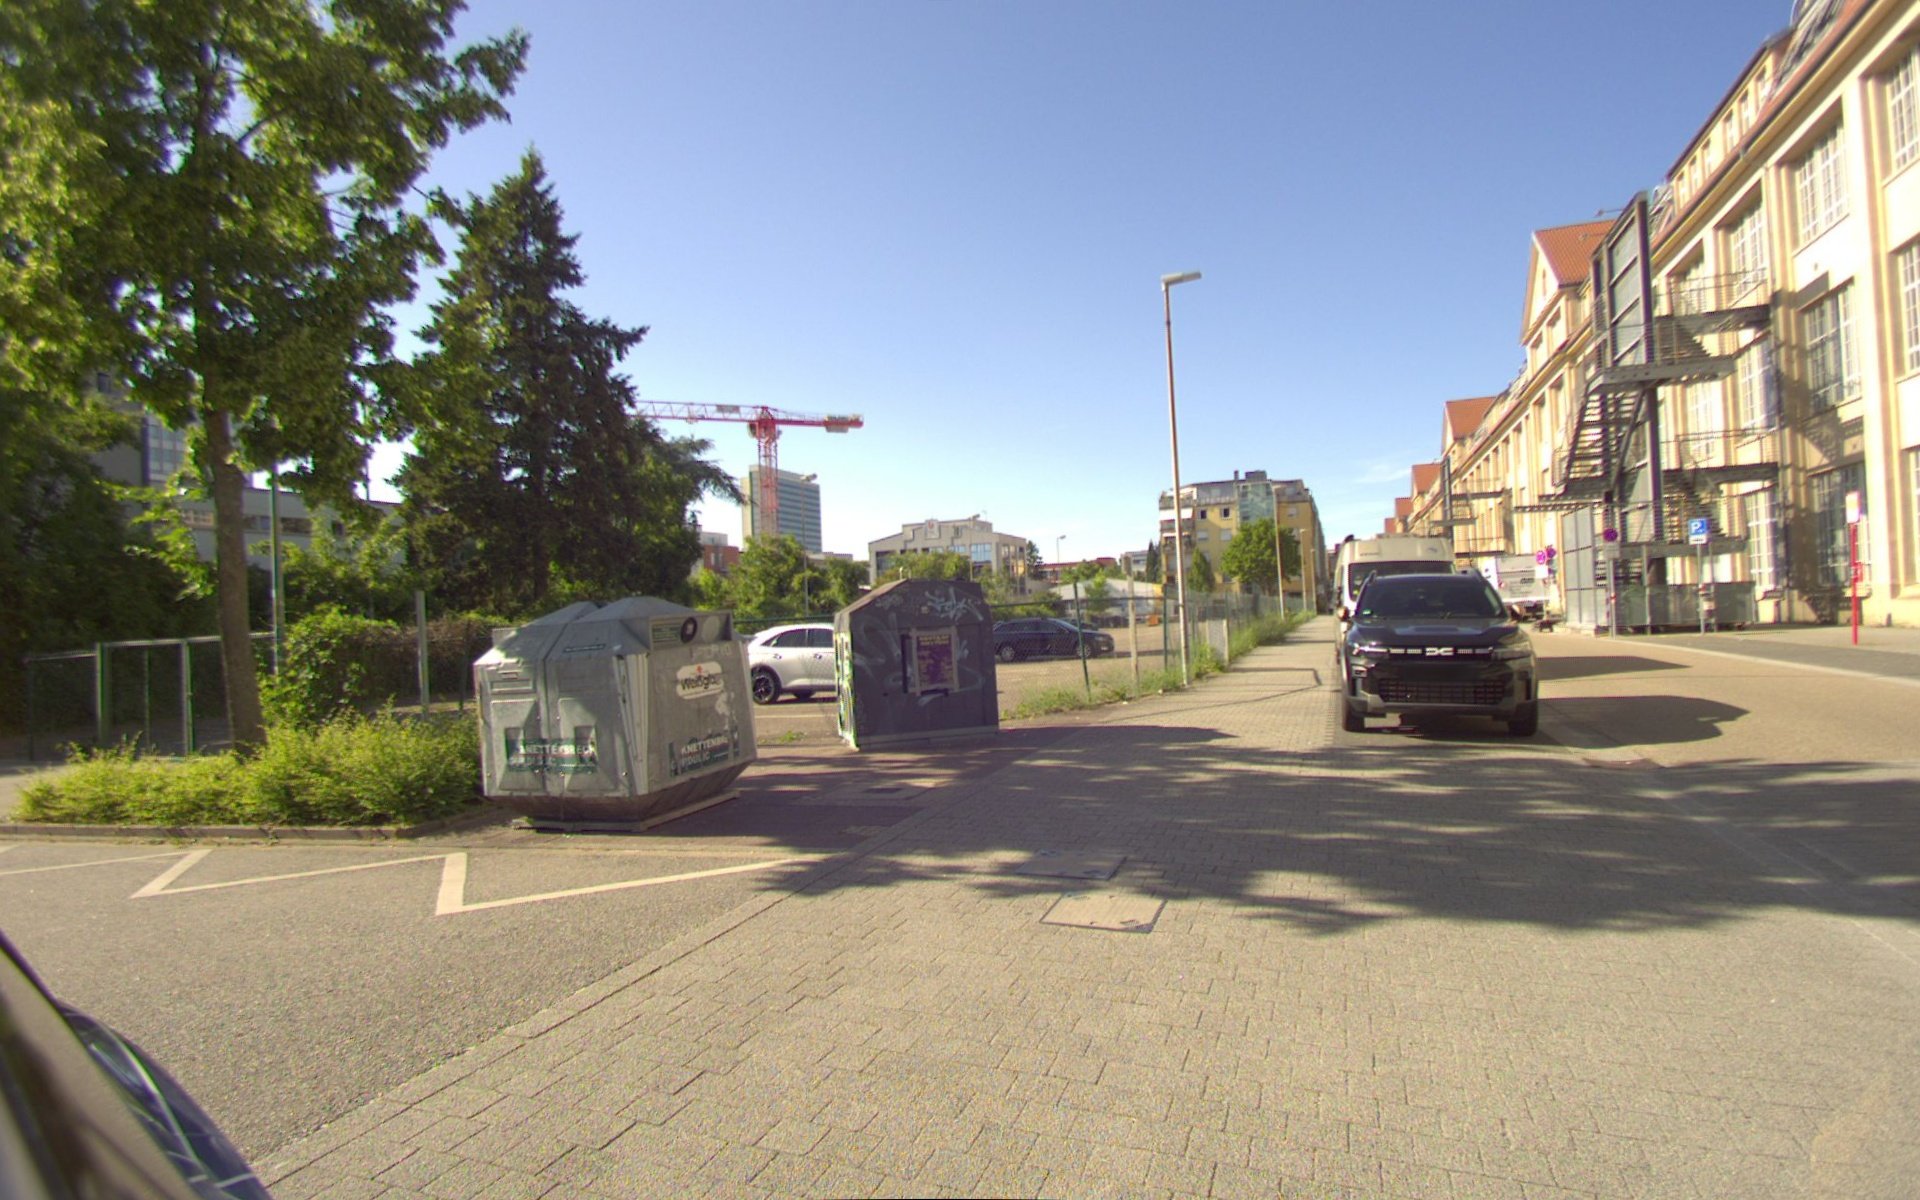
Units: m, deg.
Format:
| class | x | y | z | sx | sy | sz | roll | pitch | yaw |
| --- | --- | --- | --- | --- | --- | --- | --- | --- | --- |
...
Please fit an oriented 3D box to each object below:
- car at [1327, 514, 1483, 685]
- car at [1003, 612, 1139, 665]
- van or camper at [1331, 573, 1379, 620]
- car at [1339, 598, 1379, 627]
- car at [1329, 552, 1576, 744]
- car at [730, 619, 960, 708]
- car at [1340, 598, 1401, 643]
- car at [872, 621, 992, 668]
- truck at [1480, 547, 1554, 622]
| class | x | y | z | sx | sy | sz | roll | pitch | yaw |
| --- | --- | --- | --- | --- | --- | --- | --- | --- | --- |
| car | 8.166 | 0.027 | 18.966 | 2.150 | 2.616 | 6.238 | -3 | -1 | 21 |
| car | 3.797 | 1.323 | 34.749 | 4.217 | 1.572 | 1.882 | -4 | -2 | 24 |
| van or camper | 26.054 | -0.207 | 66.935 | 2.704 | 2.878 | 5.100 | -3 | -1 | 20 |
| car | 21.483 | 0.655 | 54.542 | 1.839 | 1.436 | 4.194 | -3 | -1 | 22 |
| car | 5.291 | 0.471 | 11.259 | 1.987 | 1.708 | 4.072 | -3 | -1 | 23 |
| car | -2.430 | 1.350 | 21.378 | 4.400 | 1.622 | 1.984 | -4 | -2 | 24 |
| car | 14.750 | 0.712 | 36.458 | 1.839 | 1.436 | 4.194 | -3 | -1 | 22 |
| car | -1.080 | 1.721 | 39.334 | 4.213 | 1.572 | 1.884 | -4 | -2 | 21 |
| truck | 28.447 | -0.760 | 51.937 | 2.485 | 3.457 | 7.072 | -3 | -1 | 23 |
